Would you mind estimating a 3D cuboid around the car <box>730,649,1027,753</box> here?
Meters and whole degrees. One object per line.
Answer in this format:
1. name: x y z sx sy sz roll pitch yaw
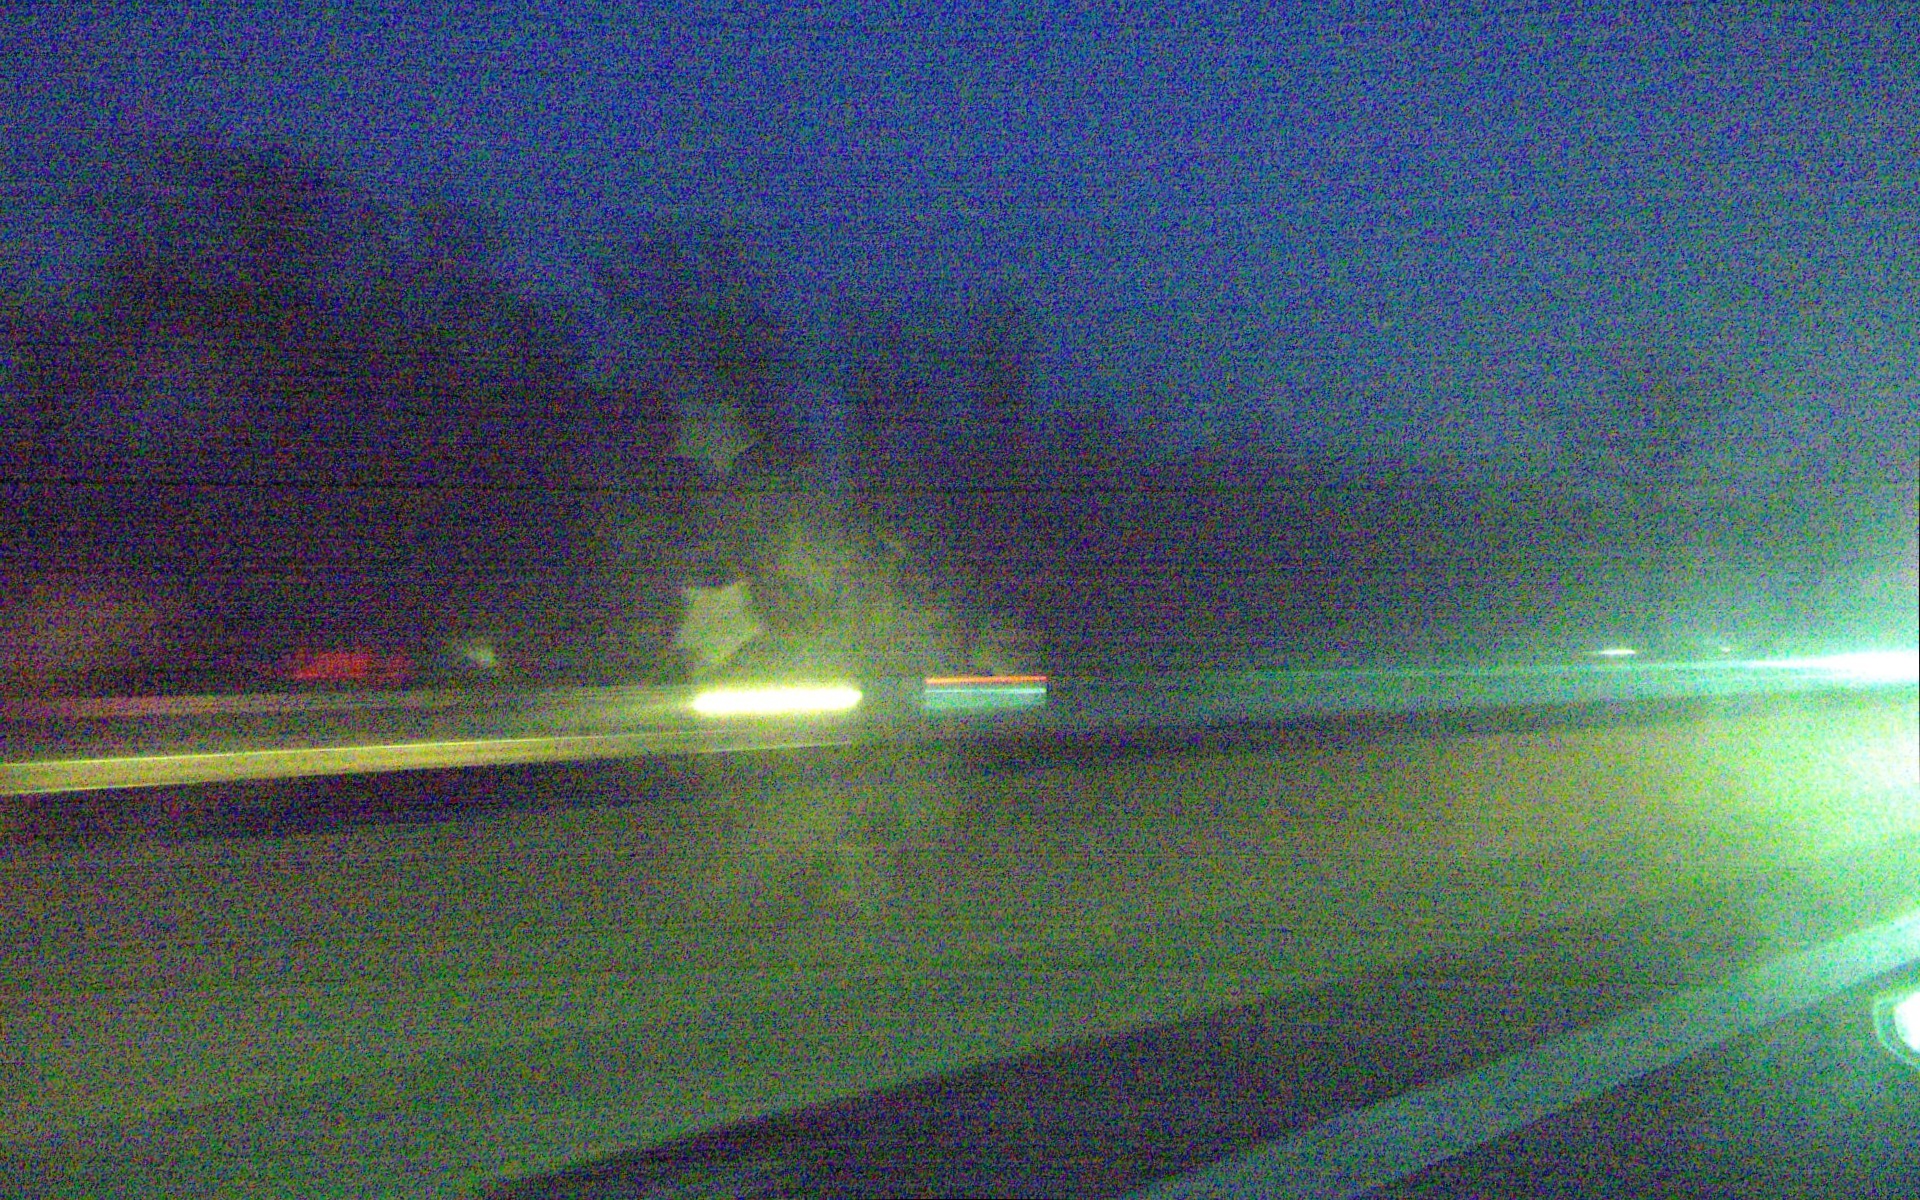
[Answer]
1. car: -1.396 1.704 17.924 4.907 1.521 1.984 2 0 -30
